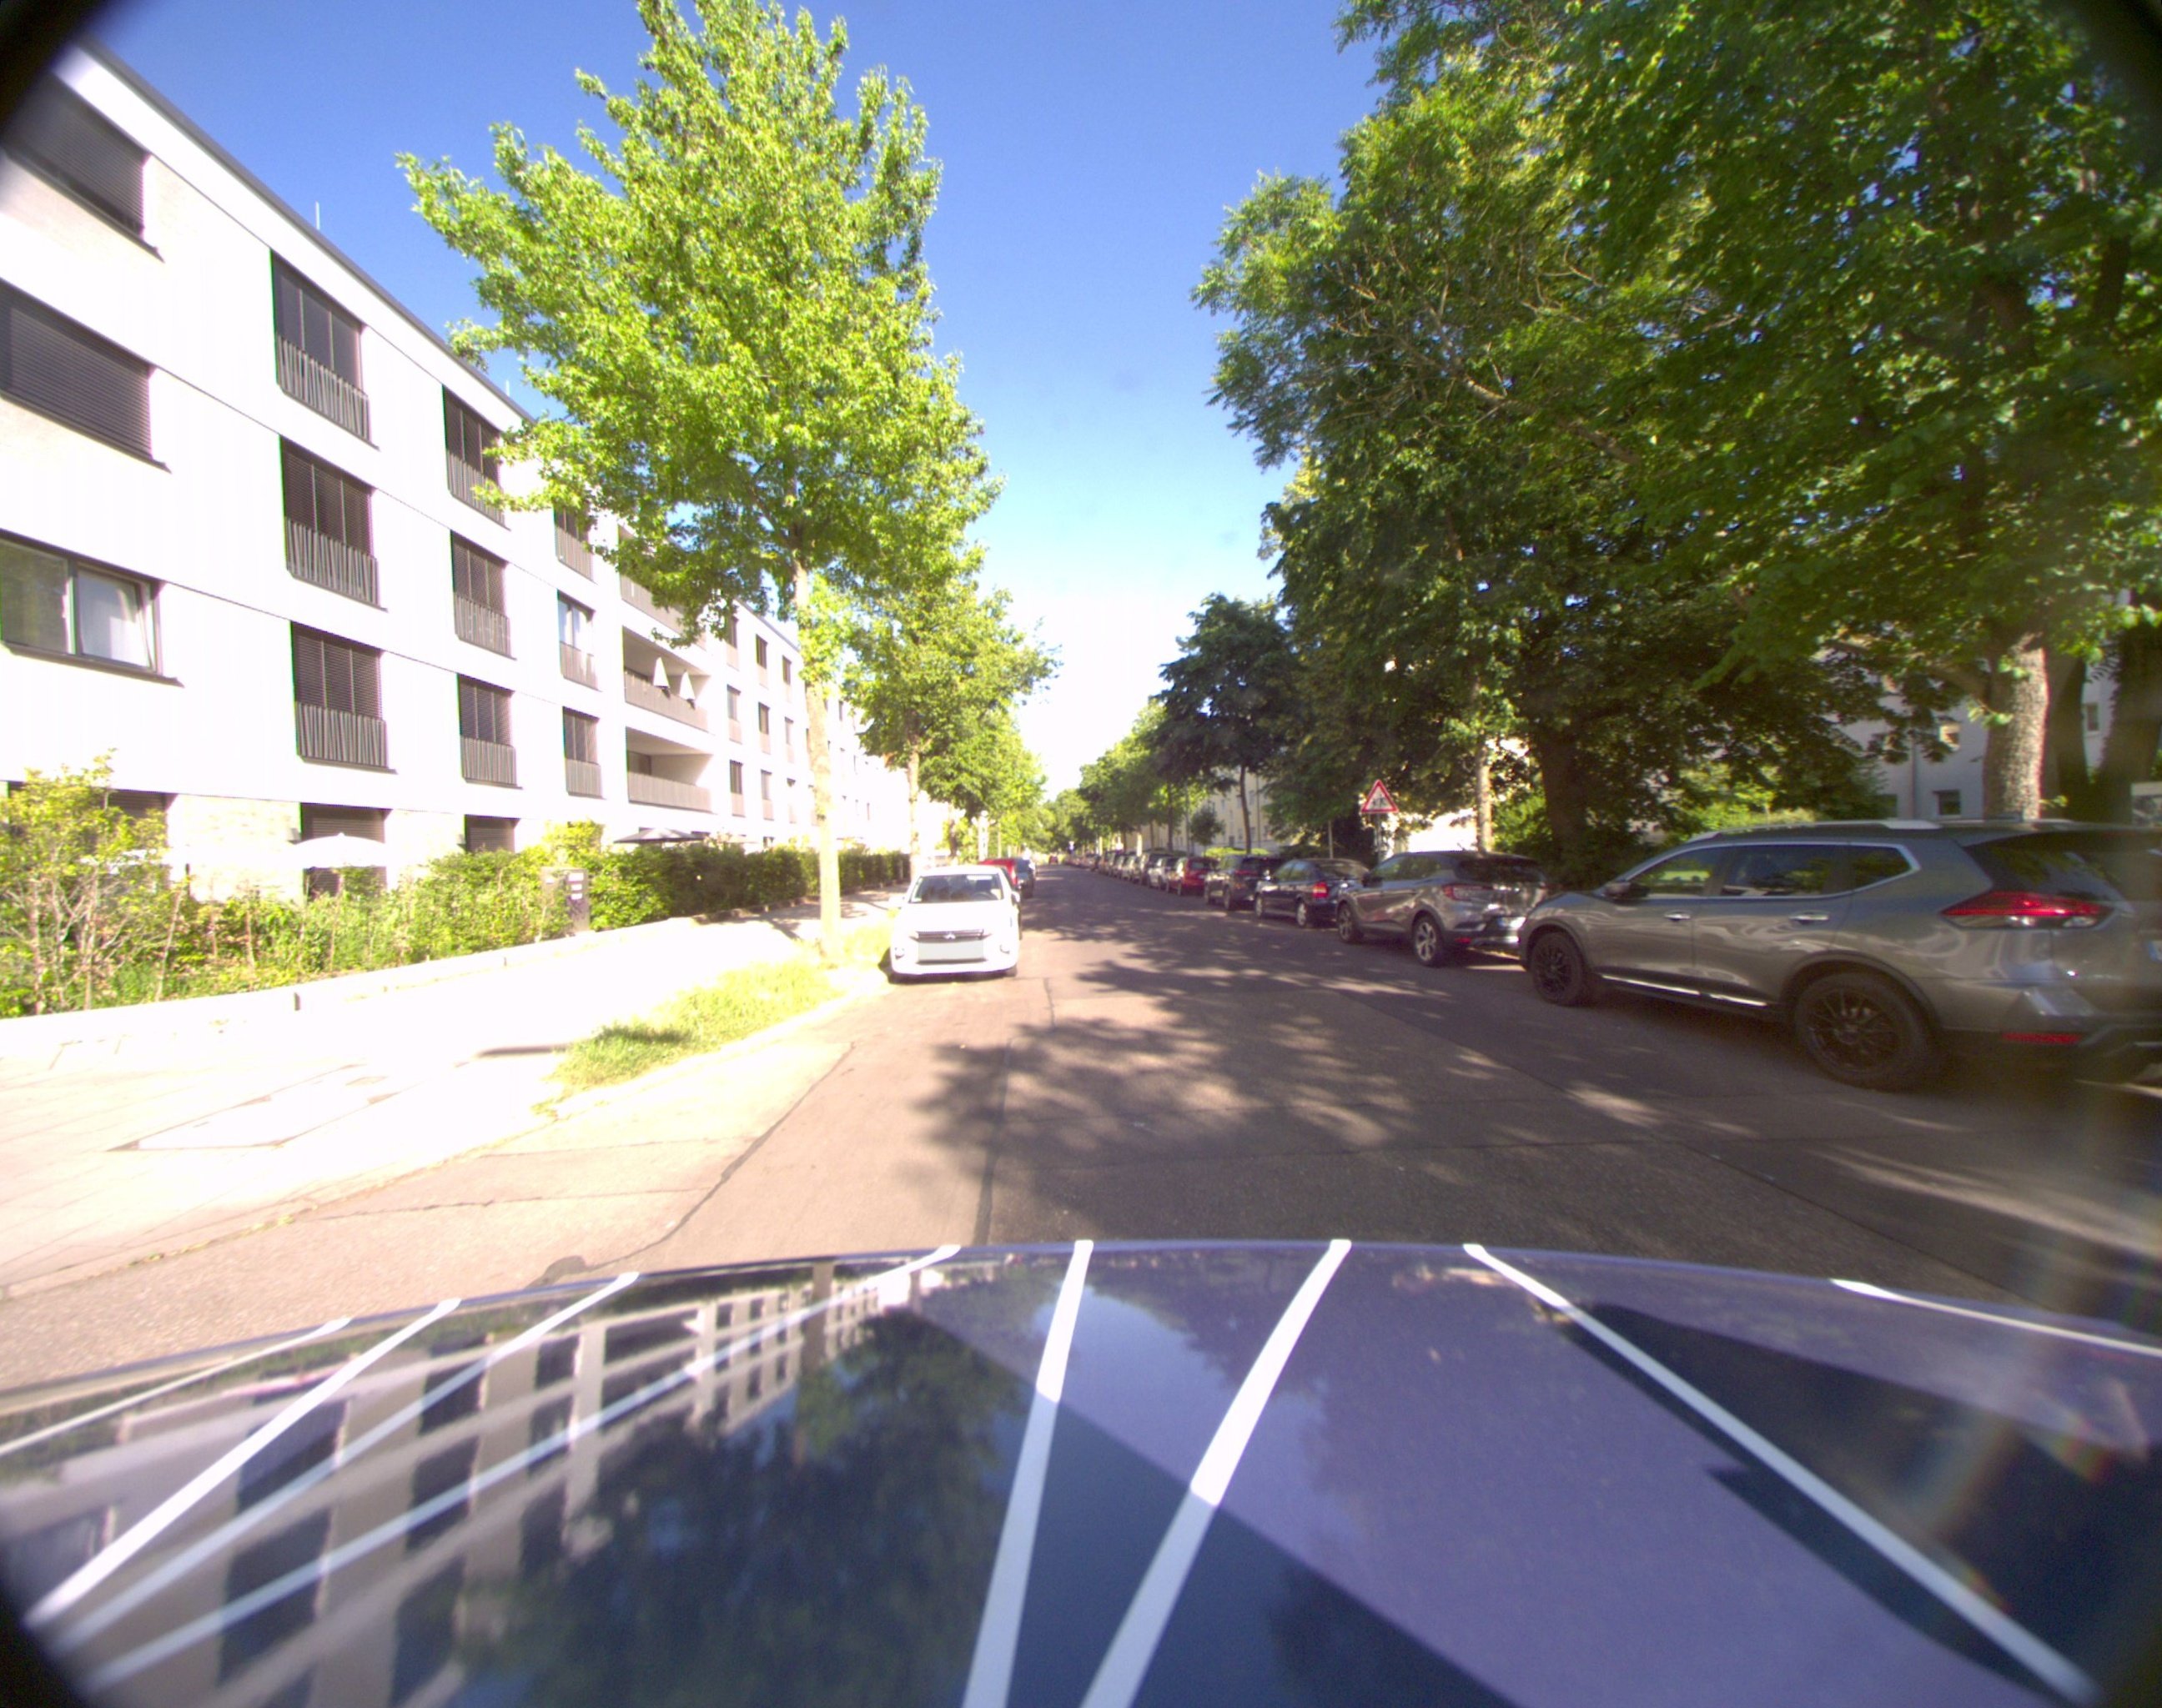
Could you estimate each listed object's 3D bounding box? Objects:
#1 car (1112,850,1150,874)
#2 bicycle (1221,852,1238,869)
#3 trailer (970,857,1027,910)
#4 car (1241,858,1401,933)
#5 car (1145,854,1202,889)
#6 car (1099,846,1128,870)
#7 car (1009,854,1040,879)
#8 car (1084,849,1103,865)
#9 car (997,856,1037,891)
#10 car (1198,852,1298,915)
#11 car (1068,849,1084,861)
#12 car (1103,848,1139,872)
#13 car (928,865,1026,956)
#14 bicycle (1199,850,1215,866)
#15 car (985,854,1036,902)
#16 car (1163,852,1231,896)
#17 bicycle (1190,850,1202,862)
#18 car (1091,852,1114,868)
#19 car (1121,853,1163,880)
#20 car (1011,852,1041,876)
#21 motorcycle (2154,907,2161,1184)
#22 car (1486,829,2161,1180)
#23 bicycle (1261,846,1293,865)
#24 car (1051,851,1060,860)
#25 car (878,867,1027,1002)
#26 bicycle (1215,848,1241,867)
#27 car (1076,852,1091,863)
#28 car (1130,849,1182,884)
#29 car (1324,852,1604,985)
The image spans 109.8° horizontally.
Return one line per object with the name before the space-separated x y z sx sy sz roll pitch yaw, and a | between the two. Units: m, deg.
car | 3.190 0.508 49.323 1.799 1.443 4.487 -1 0 -4
bicycle | 9.496 0.405 48.691 0.574 1.055 1.933 -2 1 -3
trailer | -2.780 0.963 26.225 1.579 1.569 3.191 -4 1 -1
car | 5.068 0.804 16.760 1.790 1.344 4.479 -1 0 -5
car | 4.031 0.731 33.749 1.659 1.365 4.187 -1 0 -5
car | 2.531 0.281 60.139 1.798 1.839 4.864 -1 0 -3
car | -3.847 0.797 51.317 1.786 1.509 4.684 -3 0 -7
car | 1.293 0.320 82.750 1.864 1.718 3.999 0 0 -2
car | -3.074 0.907 37.056 1.723 1.508 4.343 -3 0 -3
car | 4.669 0.758 21.956 1.710 1.568 4.480 -1 0 -3
car | -0.808 0.138 113.246 1.891 1.797 3.912 -2 1 -7
car | 2.839 0.401 55.012 1.799 1.676 4.523 -1 0 -7
car | -2.048 1.044 15.841 1.675 1.442 4.177 -4 1 -5
bicycle | 9.184 0.283 55.337 0.596 1.183 2.260 -1 0 -5
car | -2.789 0.895 30.887 1.797 1.634 4.817 -4 1 -4
car | 4.357 0.705 29.112 1.659 1.496 4.066 -1 0 -5
bicycle | 9.289 0.155 61.437 0.596 0.911 1.902 -1 0 -5
car | 2.002 0.521 70.998 1.780 1.462 4.062 1 0 -3
car | 3.490 0.675 44.313 1.711 1.472 4.487 -1 0 -5
car | -4.083 0.706 57.183 1.902 1.638 4.860 -3 0 -1
motorcycle | 6.097 0.896 3.180 1.957 1.324 0.787 -1 1 4
car | 5.568 0.700 6.107 1.773 1.678 4.812 -1 0 -4
bicycle | 13.661 0.077 52.899 1.958 1.218 0.776 -3 1 -6
car | -4.522 0.248 134.002 1.666 1.456 3.446 -1 0 -2
car | -1.745 1.016 11.281 1.738 1.478 4.007 -3 1 -5
bicycle | 10.109 0.261 52.382 1.640 1.218 0.516 -3 1 -13
car | 0.323 0.441 96.400 1.606 1.382 3.810 -2 0 -4
car | 3.765 0.575 39.017 1.847 1.647 5.085 -1 0 -4
car | 5.318 0.763 11.337 1.774 1.522 4.418 -2 0 -3
